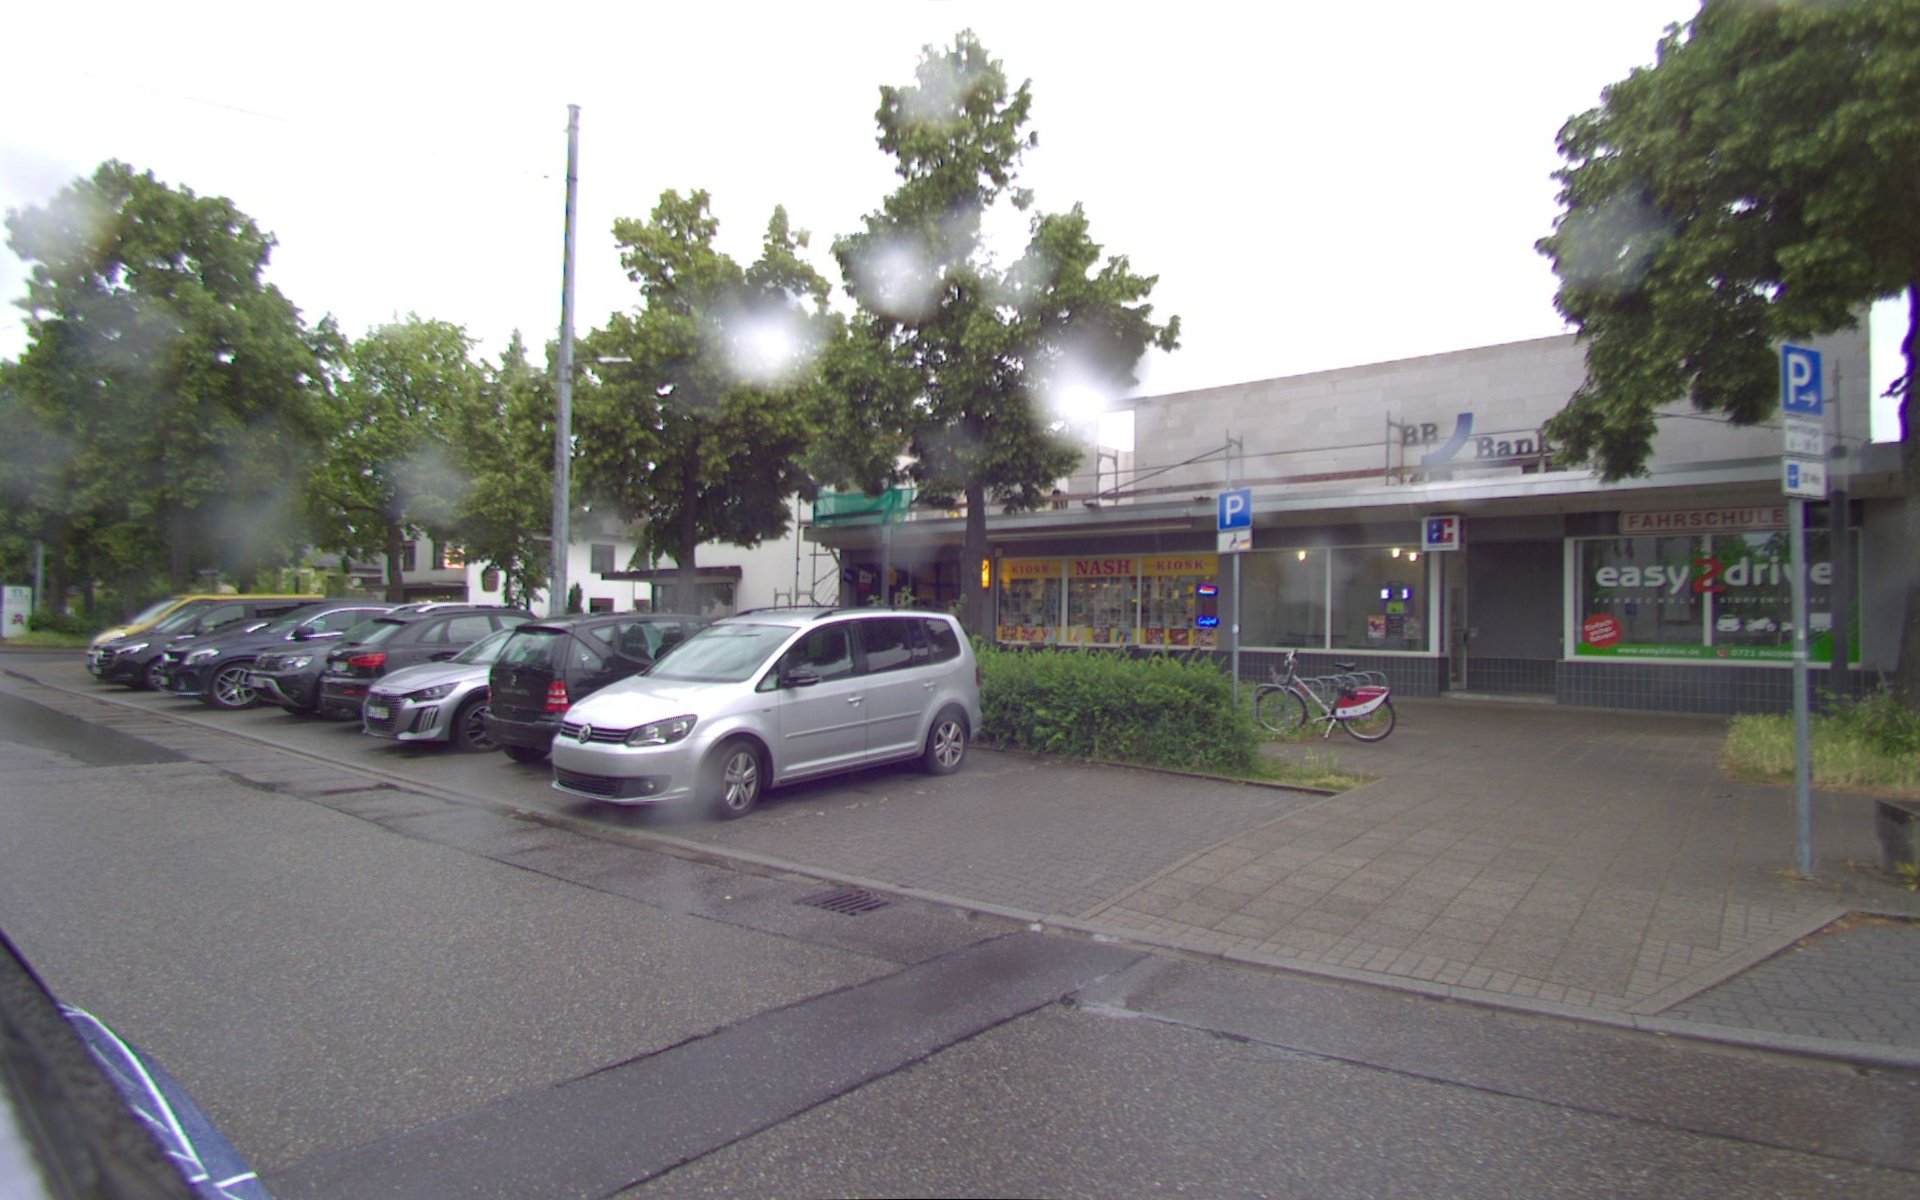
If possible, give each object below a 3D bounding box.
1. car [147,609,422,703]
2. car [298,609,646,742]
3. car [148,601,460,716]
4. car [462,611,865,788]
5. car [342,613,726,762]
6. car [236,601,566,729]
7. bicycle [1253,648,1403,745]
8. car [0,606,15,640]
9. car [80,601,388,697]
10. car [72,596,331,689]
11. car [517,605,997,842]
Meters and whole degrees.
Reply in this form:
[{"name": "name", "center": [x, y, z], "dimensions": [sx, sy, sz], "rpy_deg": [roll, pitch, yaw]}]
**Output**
[{"name": "car", "center": [-13.208, 1.010, 20.026], "dimensions": [1.713, 1.639, 4.231], "rpy_deg": [0, 0, 38]}, {"name": "car", "center": [-6.850, 0.946, 14.617], "dimensions": [1.713, 1.607, 4.231], "rpy_deg": [0, 0, 38]}, {"name": "car", "center": [-11.218, 0.900, 17.571], "dimensions": [1.713, 1.740, 4.231], "rpy_deg": [0, 0, 38]}, {"name": "car", "center": [-3.114, 0.929, 11.415], "dimensions": [1.633, 1.577, 4.231], "rpy_deg": [0, 0, 38]}, {"name": "car", "center": [-5.203, 0.951, 12.877], "dimensions": [1.713, 1.544, 4.231], "rpy_deg": [0, 0, 38]}, {"name": "car", "center": [-8.593, 0.891, 15.902], "dimensions": [1.713, 1.740, 4.231], "rpy_deg": [0, 0, 38]}, {"name": "bicycle", "center": [4.576, 1.184, 12.619], "dimensions": [1.739, 1.115, 0.316], "rpy_deg": [0, 0, 25]}, {"name": "car", "center": [-49.988, 1.163, 50.451], "dimensions": [1.997, 1.698, 3.950], "rpy_deg": [0, 0, 37]}, {"name": "car", "center": [-15.386, 0.943, 21.761], "dimensions": [1.713, 1.813, 5.114], "rpy_deg": [0, 0, 38]}, {"name": "car", "center": [-17.700, 0.913, 23.831], "dimensions": [1.713, 1.973, 4.600], "rpy_deg": [0, 0, 38]}, {"name": "car", "center": [-1.583, 0.869, 9.253], "dimensions": [1.713, 1.647, 4.231], "rpy_deg": [0, 0, 38]}]
